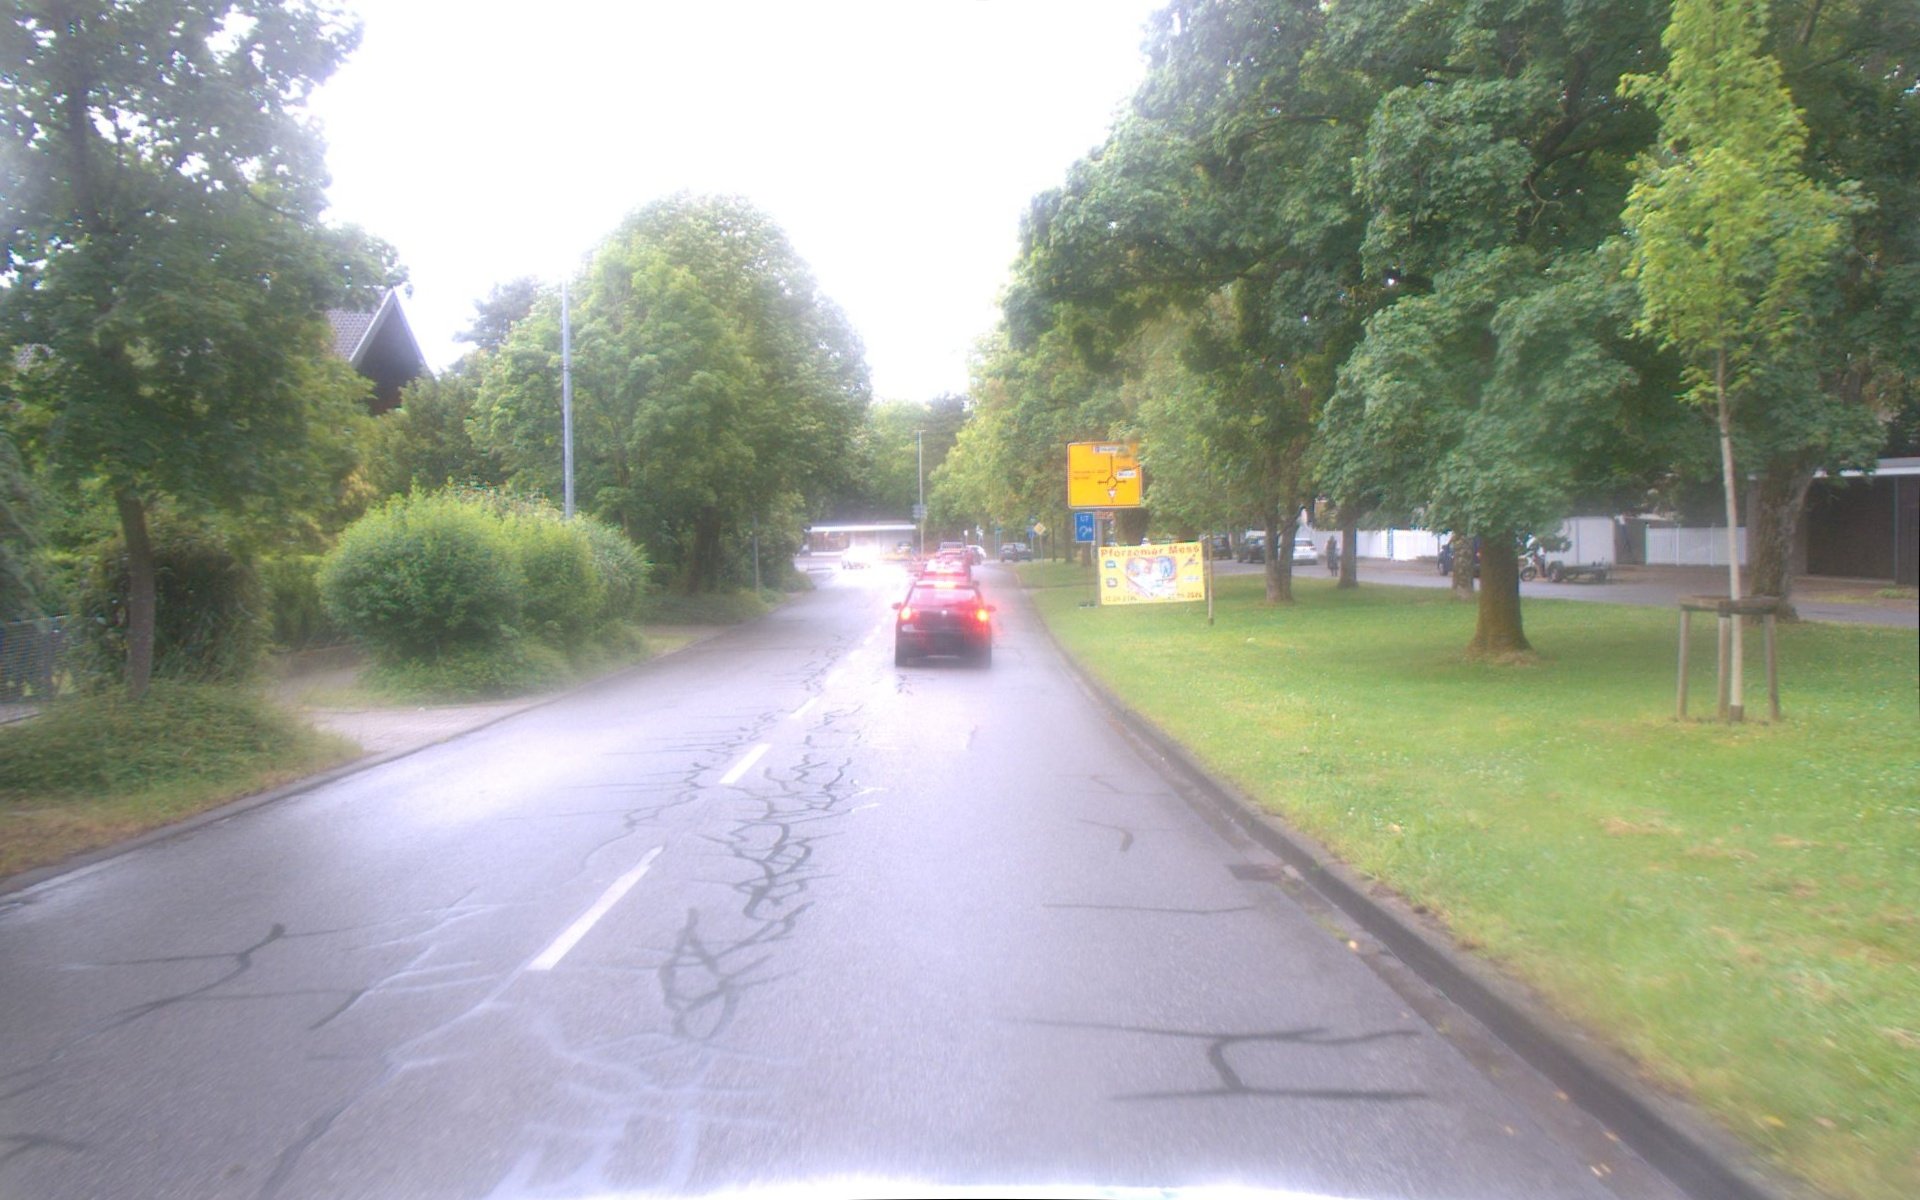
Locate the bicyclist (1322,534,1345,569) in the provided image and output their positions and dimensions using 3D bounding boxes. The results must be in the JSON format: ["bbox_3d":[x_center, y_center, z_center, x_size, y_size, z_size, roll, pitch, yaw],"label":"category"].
[{"bbox_3d":[15.647,-2.035,69.312,0.729,1.415,1.000,-1,1,0],"label":"bicyclist"}]

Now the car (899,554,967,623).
[{"bbox_3d":[-0.732,-0.369,47.010,1.817,1.815,4.001,-1,2,0],"label":"car"}]

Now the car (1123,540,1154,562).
[{"bbox_3d":[13.316,-3.672,123.692,1.767,1.430,4.001,-3,3,0],"label":"car"}]

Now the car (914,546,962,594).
[{"bbox_3d":[-0.855,-1.243,67.094,1.817,1.815,4.001,-1,2,0],"label":"car"}]

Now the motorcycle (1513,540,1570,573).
[{"bbox_3d":[20.257,-1.519,57.641,1.846,1.111,0.659,-1,3,19],"label":"motorcycle"}]

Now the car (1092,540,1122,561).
[{"bbox_3d":[10.983,-3.739,123.763,1.767,1.409,4.001,-3,3,0],"label":"car"}]

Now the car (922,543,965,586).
[{"bbox_3d":[-0.730,-1.593,73.661,1.817,1.815,4.001,-1,2,0],"label":"car"}]

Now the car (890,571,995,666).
[{"bbox_3d":[-0.291,0.281,30.136,1.762,1.541,3.754,1,2,0],"label":"car"}]

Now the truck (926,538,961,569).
[{"bbox_3d":[-1.182,-3.317,117.974,2.368,2.039,5.150,-2,2,-1],"label":"truck"}]

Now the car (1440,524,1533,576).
[{"bbox_3d":[20.455,-1.993,64.446,1.903,1.840,4.647,-3,3,-3],"label":"car"}]

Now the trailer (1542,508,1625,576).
[{"bbox_3d":[20.793,-1.915,55.270,1.408,2.192,2.947,-1,1,-5],"label":"trailer"}]

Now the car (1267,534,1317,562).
[{"bbox_3d":[18.283,-2.888,91.226,1.585,1.434,4.007,-3,3,-5],"label":"car"}]

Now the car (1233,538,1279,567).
[{"bbox_3d":[17.649,-2.856,98.790,1.766,1.556,4.111,-3,3,-3],"label":"car"}]

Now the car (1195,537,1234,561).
[{"bbox_3d":[17.004,-3.450,110.760,1.766,1.435,4.111,-3,3,-3],"label":"car"}]

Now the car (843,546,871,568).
[{"bbox_3d":[-8.139,-3.369,130.498,1.731,1.642,4.133,-3,2,-9],"label":"car"}]

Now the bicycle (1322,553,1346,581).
[{"bbox_3d":[15.659,-1.388,69.303,0.583,1.158,1.863,-1,1,0],"label":"bicycle"}]
